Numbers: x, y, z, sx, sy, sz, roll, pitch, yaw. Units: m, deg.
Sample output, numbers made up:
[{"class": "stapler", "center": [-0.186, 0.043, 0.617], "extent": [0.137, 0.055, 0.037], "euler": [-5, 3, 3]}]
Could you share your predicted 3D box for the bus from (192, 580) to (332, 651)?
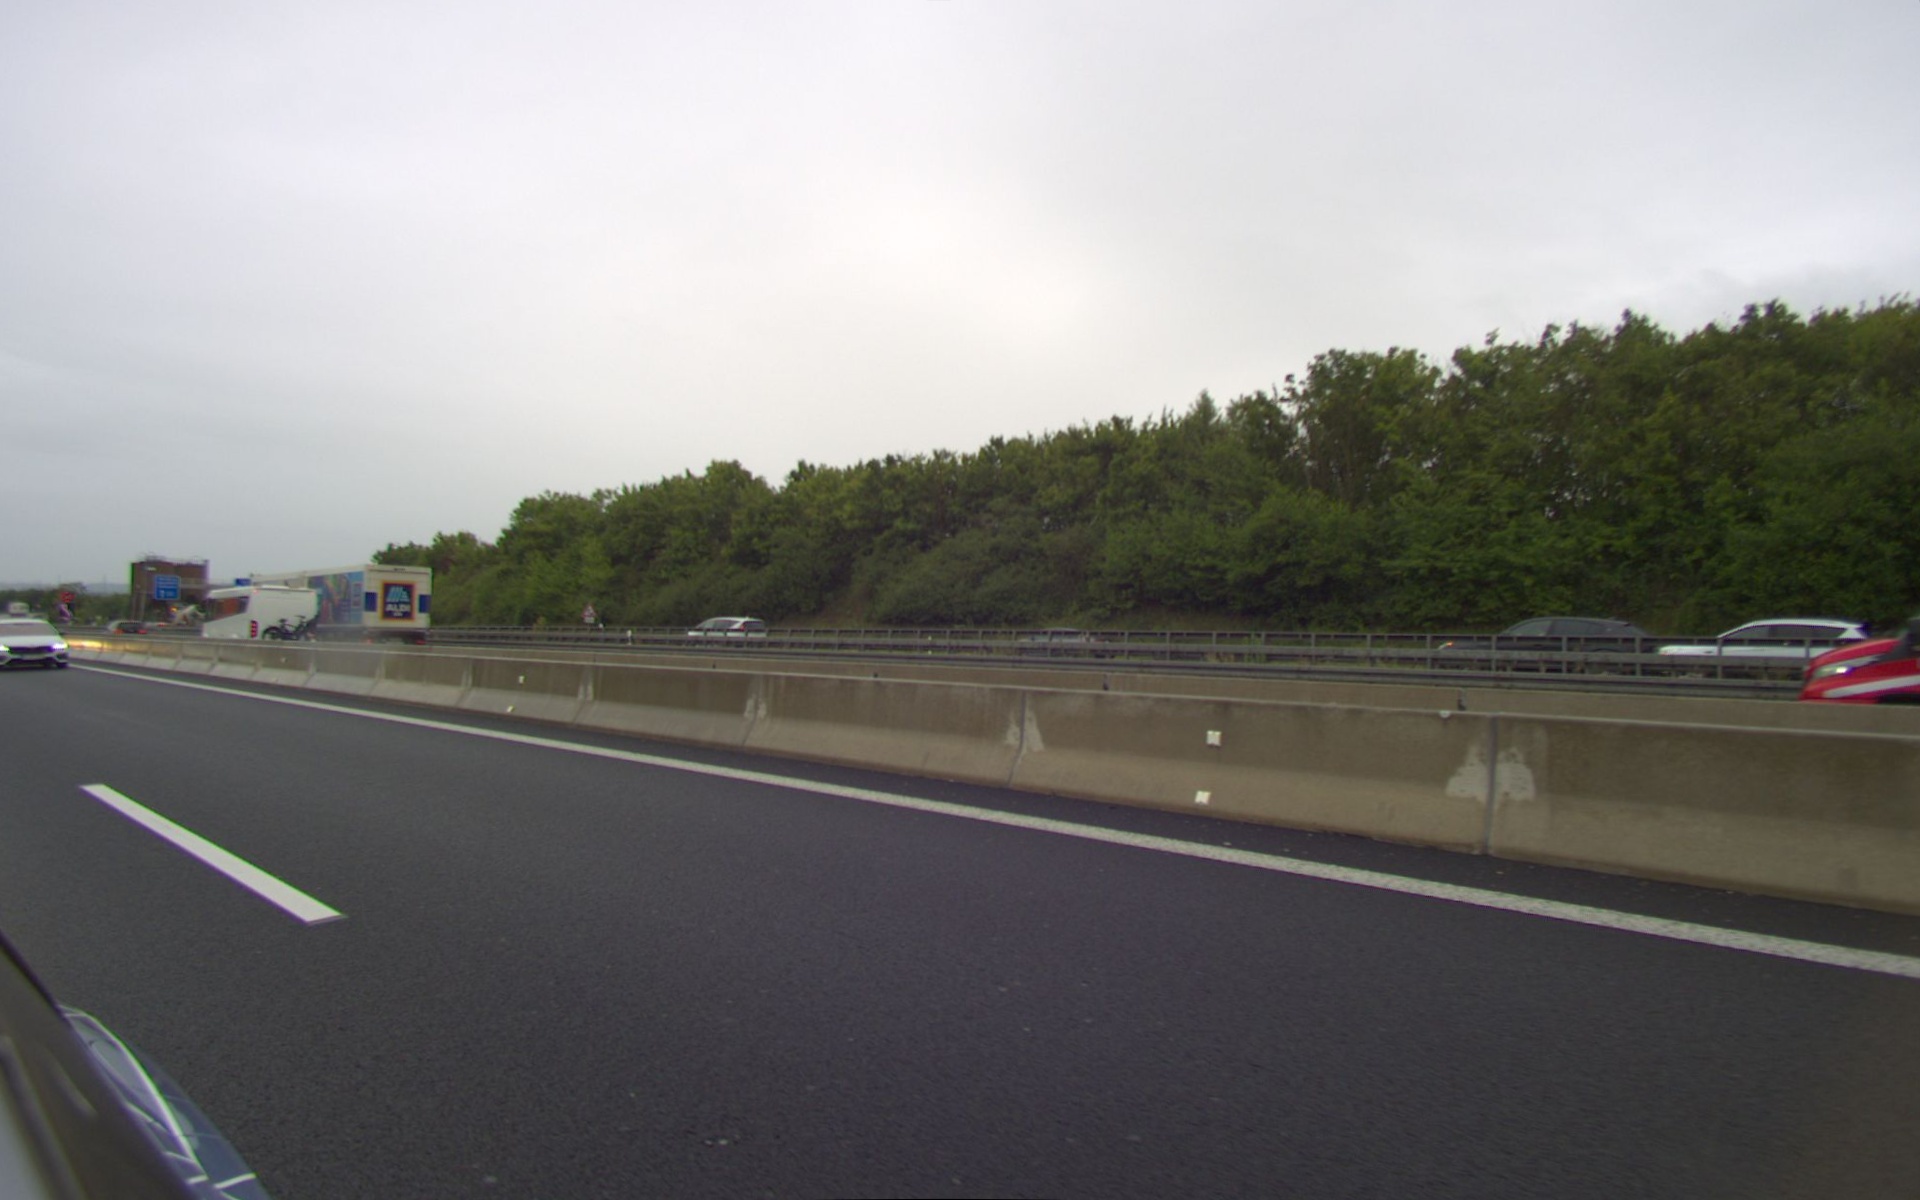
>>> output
[{"class": "bus", "center": [-28.335, 0.599, 40.934], "extent": [8.263, 2.606, 2.516], "euler": [-1, 0, 40]}]

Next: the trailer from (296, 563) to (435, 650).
[{"class": "trailer", "center": [-26.558, 0.280, 45.030], "extent": [8.047, 3.542, 2.912], "euler": [-1, 0, 41]}]

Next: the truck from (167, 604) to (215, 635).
[{"class": "truck", "center": [-94.283, 2.388, 124.023], "extent": [9.550, 3.689, 2.658], "euler": [-1, -2, 40]}]

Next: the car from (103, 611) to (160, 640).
[{"class": "car", "center": [-49.452, 1.523, 60.404], "extent": [3.998, 1.630, 1.973], "euler": [-1, -1, 41]}]

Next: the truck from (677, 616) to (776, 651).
[{"class": "truck", "center": [-10.500, 1.469, 45.319], "extent": [4.465, 1.507, 1.975], "euler": [-1, -1, 38]}]

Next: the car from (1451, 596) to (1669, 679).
[{"class": "car", "center": [14.191, 0.866, 24.066], "extent": [4.183, 1.802, 1.815], "euler": [-1, -2, 42]}]

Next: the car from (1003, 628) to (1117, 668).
[{"class": "car", "center": [3.722, 1.759, 38.084], "extent": [3.997, 1.386, 1.779], "euler": [-1, -1, 40]}]

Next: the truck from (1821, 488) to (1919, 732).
[{"class": "truck", "center": [13.141, 0.075, 9.920], "extent": [7.088, 2.613, 2.402], "euler": [-1, -1, 41]}]

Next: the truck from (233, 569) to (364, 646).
[{"class": "truck", "center": [-33.667, 0.402, 51.254], "extent": [10.636, 3.551, 2.779], "euler": [-1, 0, 41]}]

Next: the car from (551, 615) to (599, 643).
[{"class": "car", "center": [-28.670, 2.125, 75.265], "extent": [3.999, 2.029, 1.731], "euler": [-1, -2, 42]}]

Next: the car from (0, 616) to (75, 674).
[{"class": "car", "center": [-27.802, 1.285, 29.843], "extent": [4.814, 1.603, 1.973], "euler": [-1, -1, 41]}]

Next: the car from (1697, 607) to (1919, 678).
[{"class": "car", "center": [20.028, 0.960, 23.797], "extent": [4.211, 1.542, 1.973], "euler": [-1, -2, 41]}]
